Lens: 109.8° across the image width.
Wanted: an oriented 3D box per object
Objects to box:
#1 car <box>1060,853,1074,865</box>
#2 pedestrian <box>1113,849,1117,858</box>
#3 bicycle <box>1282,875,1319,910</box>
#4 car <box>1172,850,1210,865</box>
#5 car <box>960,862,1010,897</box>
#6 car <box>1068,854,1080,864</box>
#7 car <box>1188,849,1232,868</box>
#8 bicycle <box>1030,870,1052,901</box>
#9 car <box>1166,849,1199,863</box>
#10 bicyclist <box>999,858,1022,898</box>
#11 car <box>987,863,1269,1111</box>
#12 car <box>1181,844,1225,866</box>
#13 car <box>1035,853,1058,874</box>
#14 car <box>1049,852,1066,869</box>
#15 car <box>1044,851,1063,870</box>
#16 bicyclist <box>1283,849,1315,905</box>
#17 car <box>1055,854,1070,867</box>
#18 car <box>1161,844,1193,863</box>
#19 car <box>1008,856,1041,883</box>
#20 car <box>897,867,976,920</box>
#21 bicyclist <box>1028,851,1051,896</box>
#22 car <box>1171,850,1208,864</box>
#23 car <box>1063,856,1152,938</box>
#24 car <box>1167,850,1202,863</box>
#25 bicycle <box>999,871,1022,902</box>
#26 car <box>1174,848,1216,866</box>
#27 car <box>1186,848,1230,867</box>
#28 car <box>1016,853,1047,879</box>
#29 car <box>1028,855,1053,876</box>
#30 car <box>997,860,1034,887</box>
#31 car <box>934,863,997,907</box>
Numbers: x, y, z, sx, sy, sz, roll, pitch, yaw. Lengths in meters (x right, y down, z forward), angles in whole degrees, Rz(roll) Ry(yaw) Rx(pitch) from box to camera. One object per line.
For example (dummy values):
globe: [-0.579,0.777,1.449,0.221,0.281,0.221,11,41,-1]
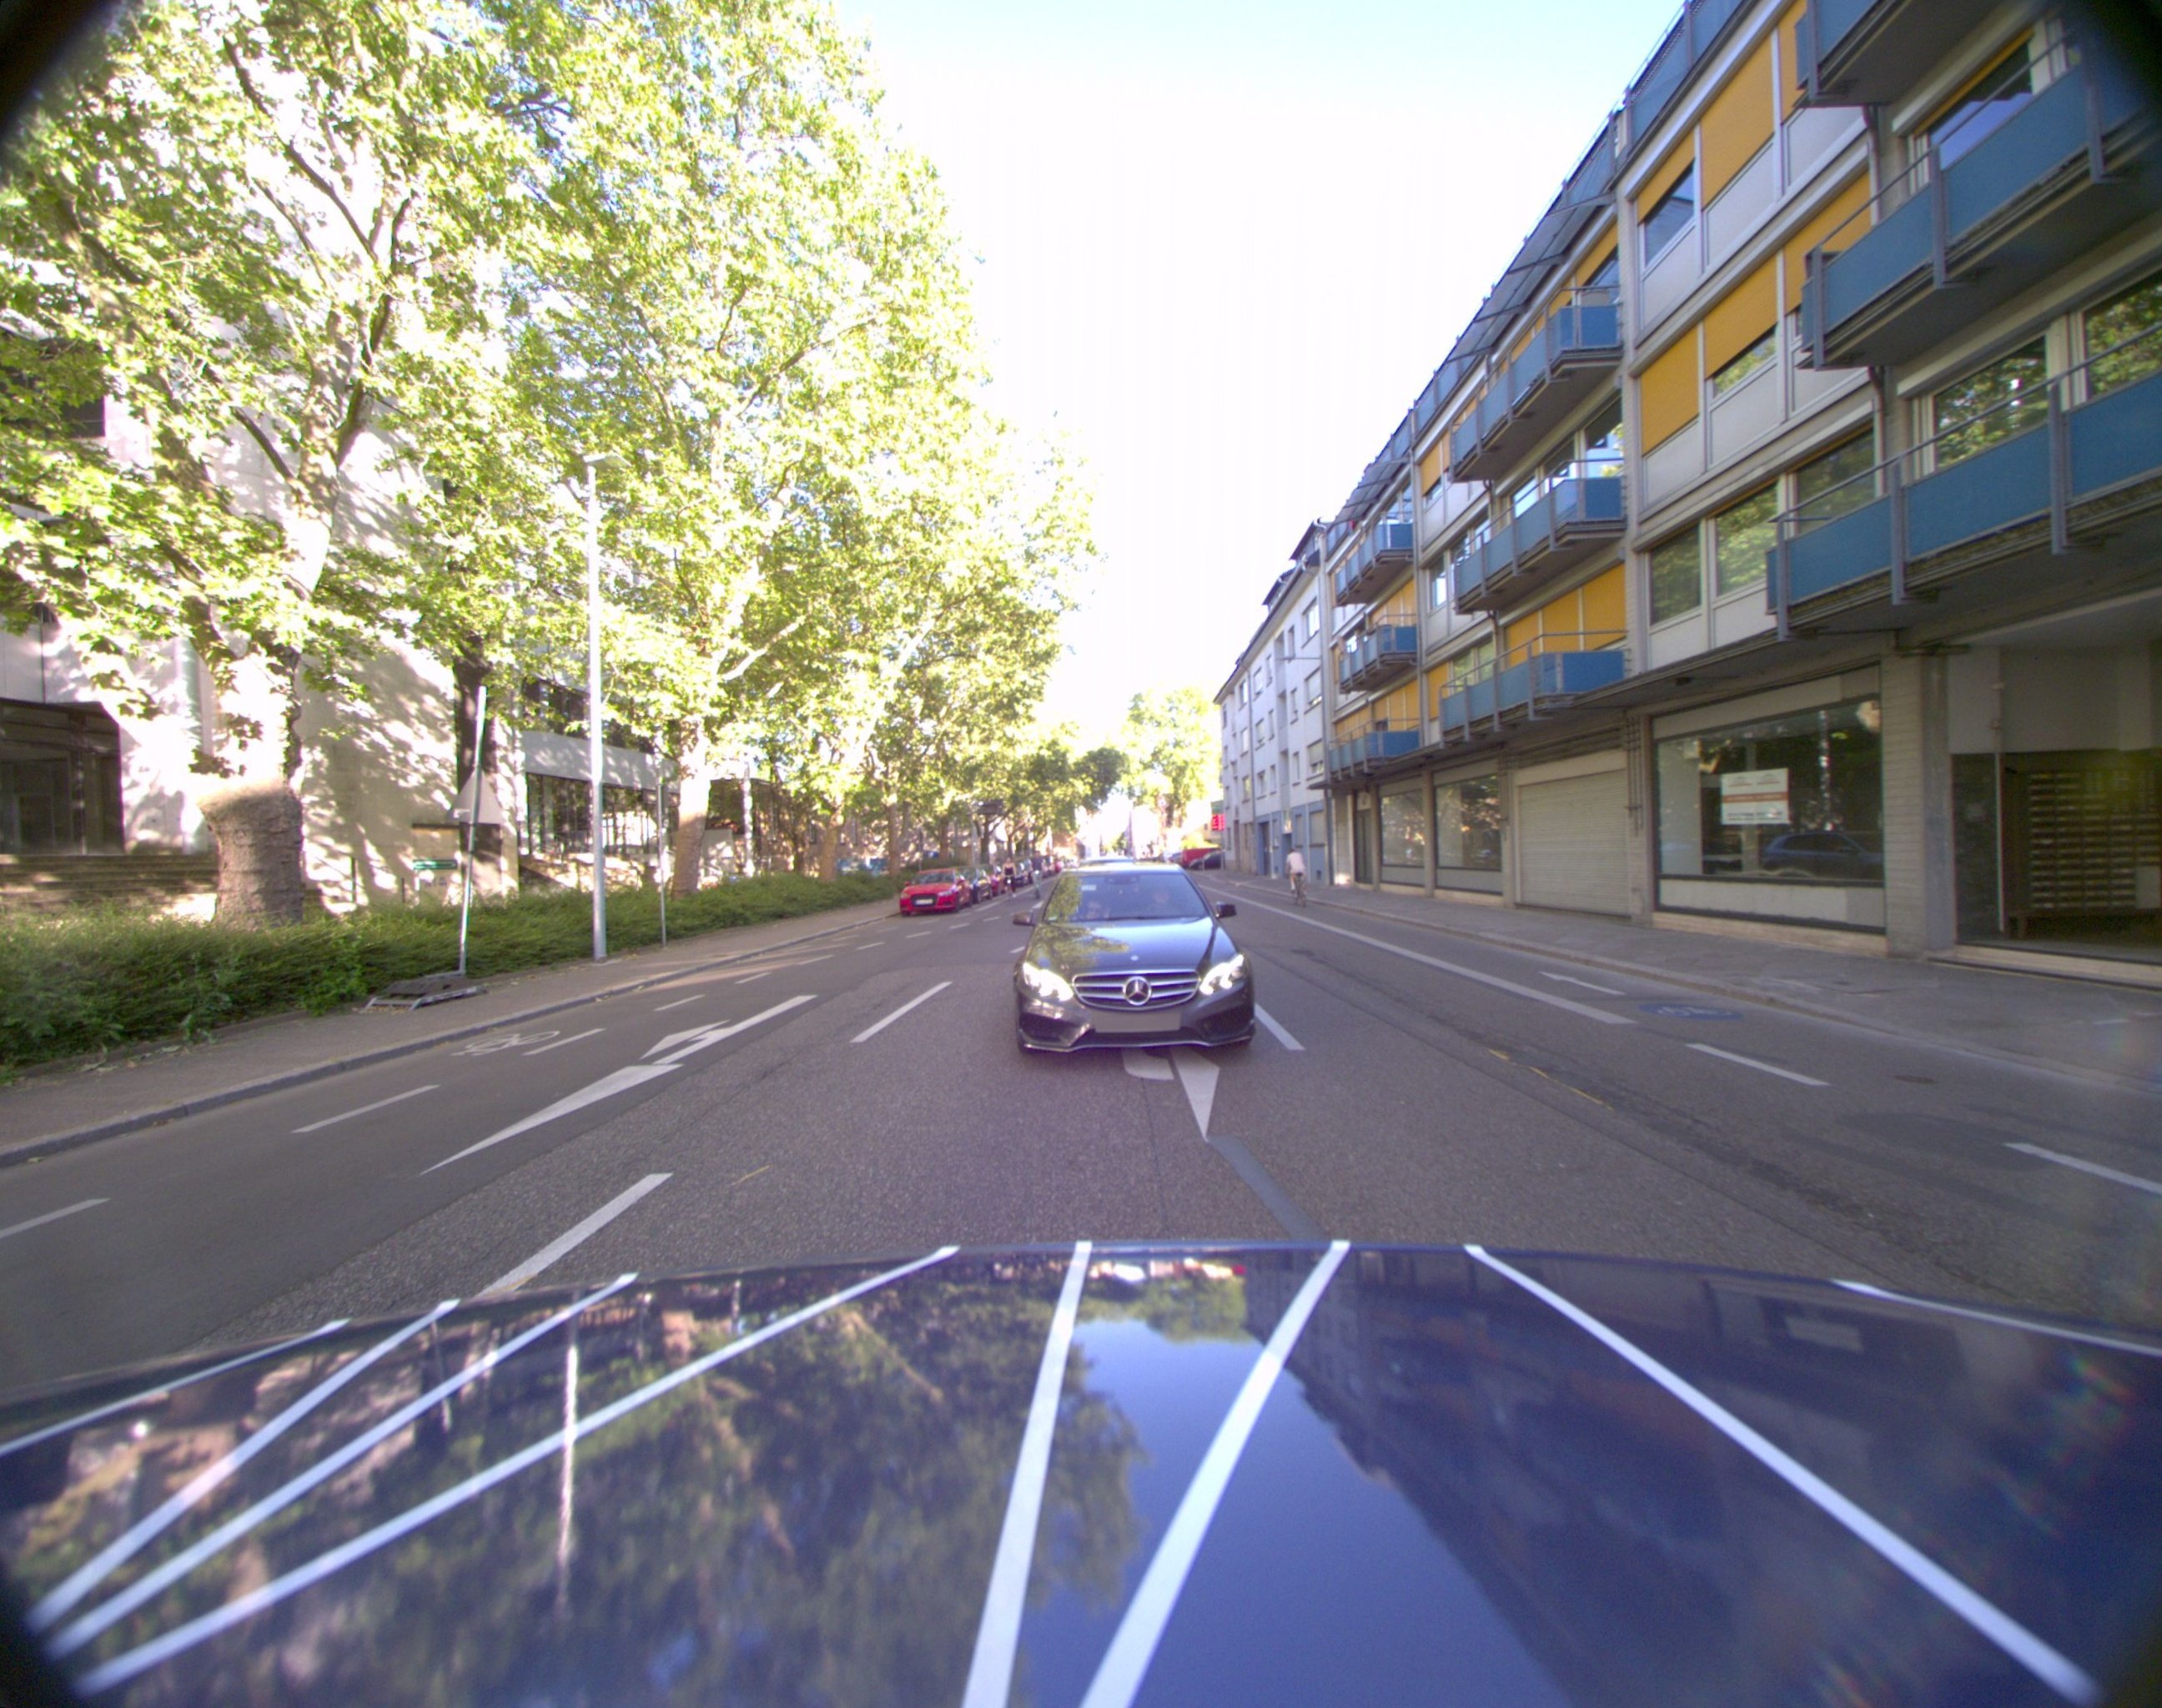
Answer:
car: [-1.889,0.691,103.060,1.686,1.546,3.837,-2,0,1]
pedestrian: [8.566,-0.166,189.795,0.884,2.108,0.821,-3,1,2]
bicycle: [6.291,1.083,21.847,0.549,0.886,1.868,-3,1,2]
car: [11.887,0.379,82.079,3.905,1.366,1.595,-3,1,3]
car: [-4.355,1.142,35.005,1.666,1.426,3.781,-2,0,1]
car: [-1.021,0.745,114.189,1.686,1.475,3.837,-2,0,1]
car: [11.175,0.376,65.852,3.598,1.401,1.535,-3,0,3]
bicycle: [-1.563,1.242,29.998,0.667,1.093,1.814,-3,1,1]
car: [12.235,0.267,91.925,3.782,1.432,1.539,-3,1,3]
bicyclist: [-2.752,0.934,29.788,0.755,1.512,0.768,-3,1,0]
car: [0.347,0.926,7.258,1.828,1.495,4.294,-3,1,1]
car: [11.383,0.087,71.099,3.905,1.895,1.749,-2,0,3]
car: [-2.982,0.820,66.753,1.663,1.704,3.837,-2,0,1]
car: [-2.558,0.715,83.399,1.686,1.749,3.837,-2,0,1]
car: [-2.819,0.666,77.611,1.645,1.839,3.837,-2,0,1]
bicyclist: [6.258,0.649,21.871,0.650,1.549,0.807,-3,1,1]
car: [-2.307,0.834,94.442,1.639,1.493,3.753,-2,0,1]
car: [12.175,-0.036,96.421,3.905,2.164,1.725,-3,1,3]
car: [-3.619,0.963,49.455,1.686,1.610,3.837,-2,0,1]
car: [-4.659,1.231,25.064,1.724,1.412,4.031,-4,0,1]
bicyclist: [-1.637,0.739,29.952,0.755,1.714,0.768,-3,1,0]
car: [11.955,0.357,84.100,3.905,1.366,1.595,-3,1,3]
car: [0.559,0.875,17.567,1.732,1.538,4.294,-3,1,1]
car: [12.175,0.332,89.240,3.905,1.325,1.525,-3,1,3]
bicycle: [-2.743,1.270,29.859,0.667,1.093,1.814,-3,1,1]
car: [11.078,0.258,73.901,3.905,1.577,1.604,-3,1,3]
car: [11.388,0.275,68.254,3.667,1.501,1.602,-3,1,3]
car: [-3.565,0.833,55.581,1.819,1.758,4.431,-2,0,1]
car: [-3.279,0.940,61.901,1.686,1.552,3.868,-2,0,1]
car: [-3.832,1.101,44.798,1.686,1.442,4.000,-2,0,1]
car: [-4.454,1.173,29.820,1.686,1.458,4.000,-3,0,1]
